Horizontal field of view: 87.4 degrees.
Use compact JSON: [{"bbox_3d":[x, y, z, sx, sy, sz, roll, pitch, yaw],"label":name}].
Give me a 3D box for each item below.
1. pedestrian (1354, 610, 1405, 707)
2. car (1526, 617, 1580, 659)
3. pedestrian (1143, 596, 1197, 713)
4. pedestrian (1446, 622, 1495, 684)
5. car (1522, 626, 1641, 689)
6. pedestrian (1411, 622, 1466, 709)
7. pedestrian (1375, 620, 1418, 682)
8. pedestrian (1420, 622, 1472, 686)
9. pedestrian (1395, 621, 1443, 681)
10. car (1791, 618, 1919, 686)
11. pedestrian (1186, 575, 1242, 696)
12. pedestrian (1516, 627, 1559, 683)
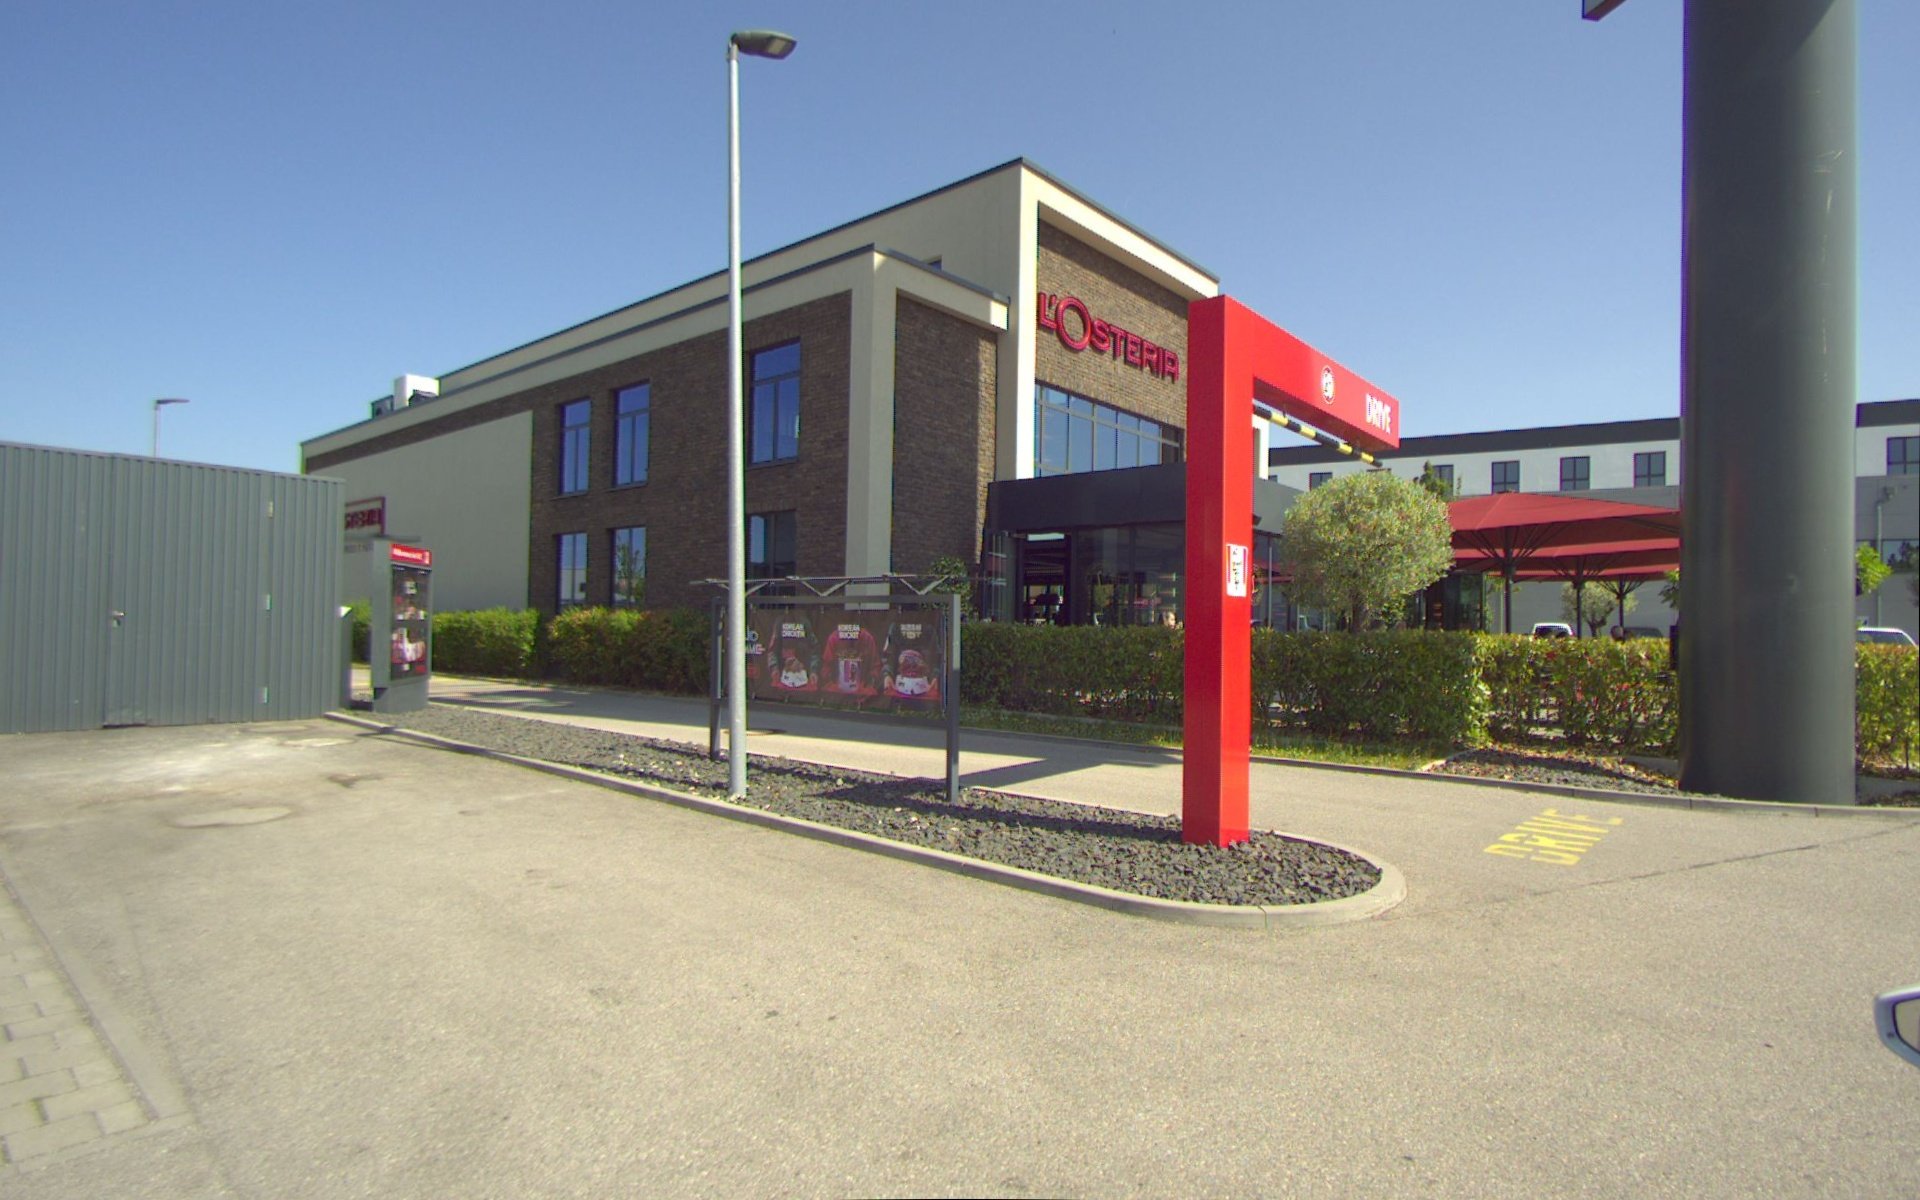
[{"bbox_3d":[6.127,0.838,14.683,0.637,1.385,0.482,0,-1,16],"label":"pedestrian"},{"bbox_3d":[22.864,1.434,38.845,1.706,1.507,3.944,0,-1,29],"label":"car"},{"bbox_3d":[2.817,0.717,13.467,0.518,1.525,0.566,0,-1,38],"label":"pedestrian"},{"bbox_3d":[10.194,1.042,20.045,0.612,1.214,0.701,1,-1,-41],"label":"pedestrian"},{"bbox_3d":[14.534,1.292,23.418,1.625,1.326,3.819,-1,-2,43],"label":"car"},{"bbox_3d":[6.745,0.910,14.176,0.637,1.201,0.482,0,-1,16],"label":"pedestrian"},{"bbox_3d":[8.784,1.020,20.205,0.698,1.214,0.666,0,-1,34],"label":"pedestrian"},{"bbox_3d":[9.352,1.030,19.355,0.606,1.214,0.708,0,-1,-13],"label":"pedestrian"},{"bbox_3d":[9.562,1.057,20.940,0.607,1.214,0.707,0,-1,-19],"label":"pedestrian"},{"bbox_3d":[22.648,1.227,25.266,1.919,1.551,4.369,0,-1,29],"label":"car"},{"bbox_3d":[3.308,0.451,13.065,0.518,1.525,0.566,0,-1,38],"label":"pedestrian"},{"bbox_3d":[11.720,1.097,20.381,0.539,1.104,0.573,1,-1,-33],"label":"pedestrian"}]
